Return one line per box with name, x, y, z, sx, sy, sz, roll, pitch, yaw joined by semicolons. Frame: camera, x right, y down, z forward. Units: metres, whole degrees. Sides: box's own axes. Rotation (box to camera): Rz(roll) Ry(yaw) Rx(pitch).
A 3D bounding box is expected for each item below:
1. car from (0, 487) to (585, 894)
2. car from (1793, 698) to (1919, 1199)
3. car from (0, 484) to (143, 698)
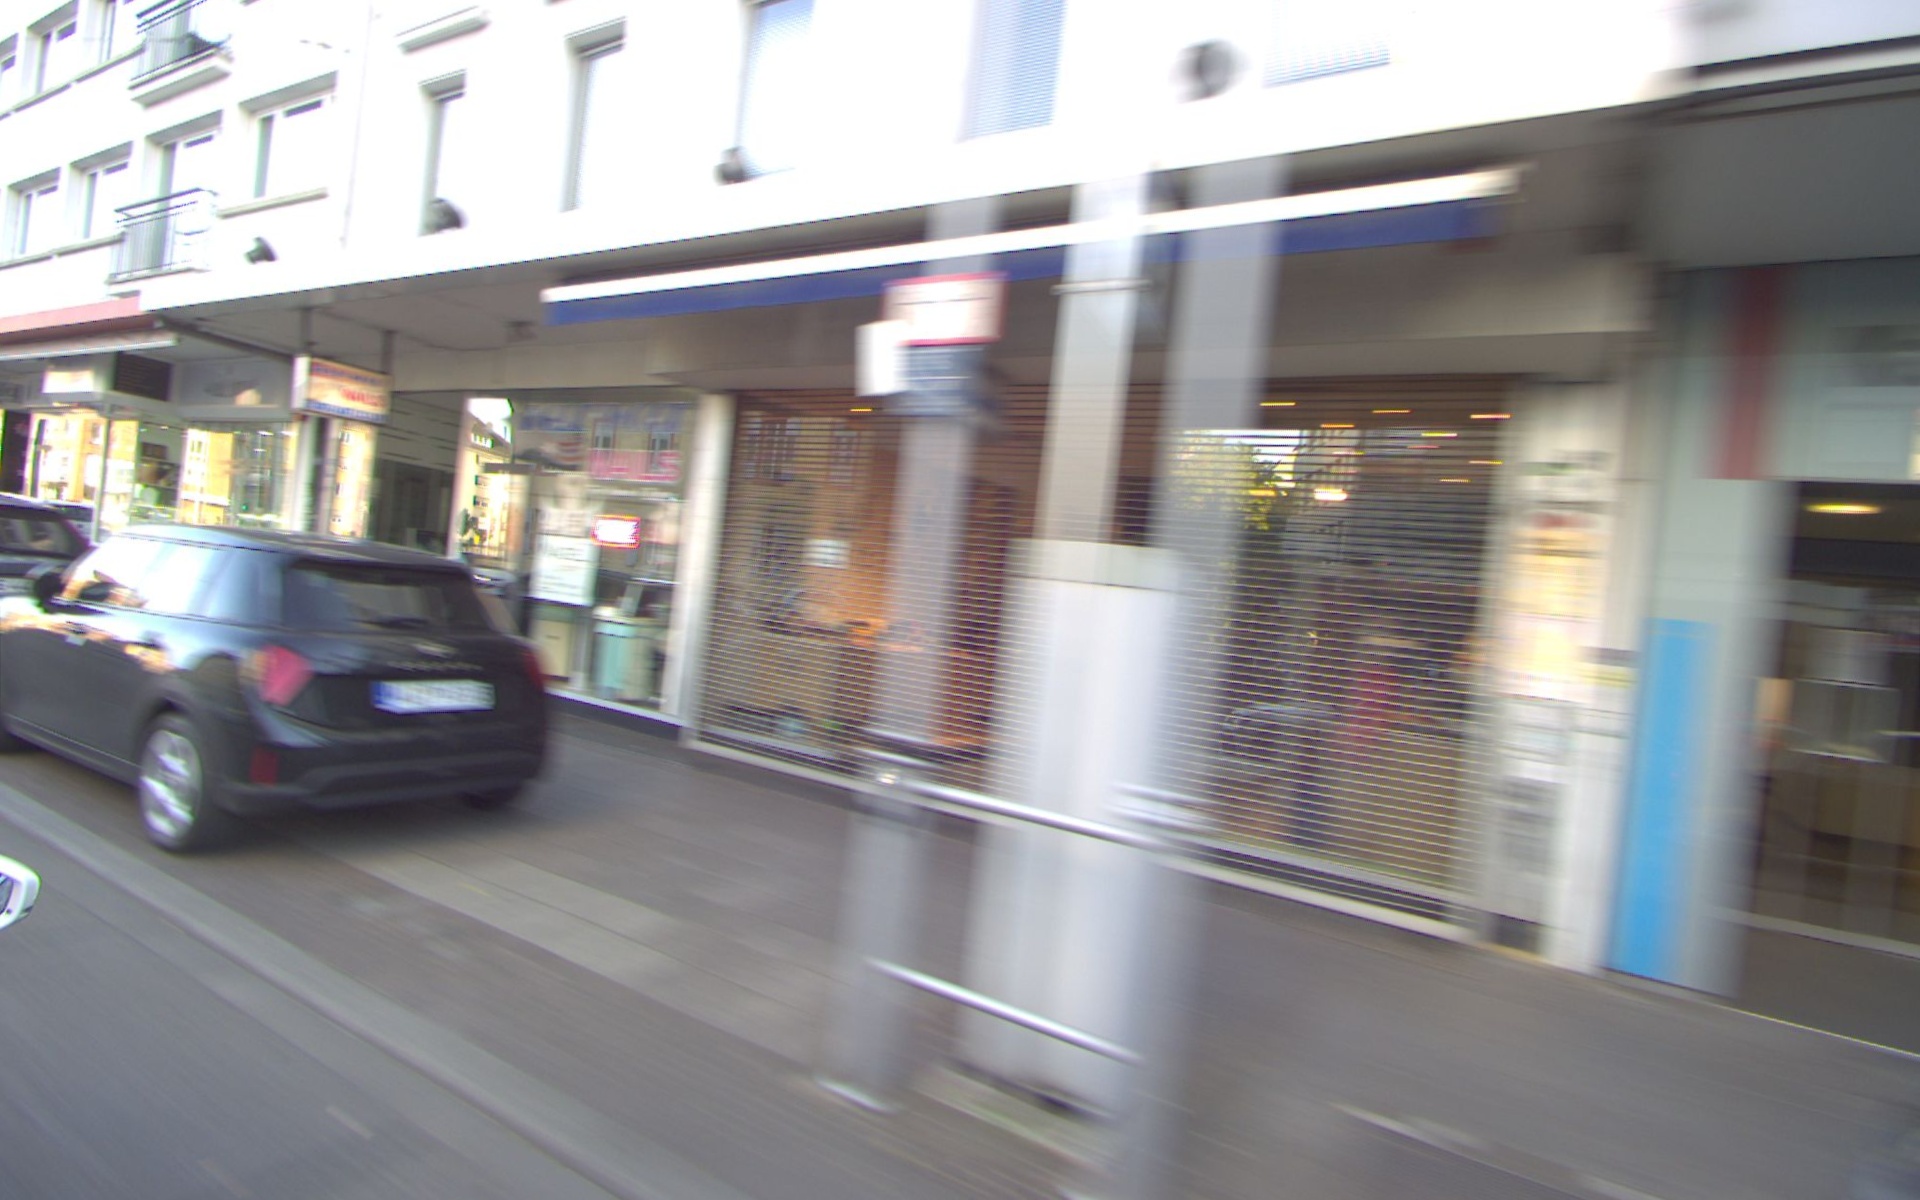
car;-4.199;0.267;5.763;3.968;1.531;1.687;6;1;32
car;3.629;1.178;0.918;4.098;1.531;1.721;6;1;32
car;-8.886;-0.284;8.281;4.632;1.531;1.791;6;1;30
